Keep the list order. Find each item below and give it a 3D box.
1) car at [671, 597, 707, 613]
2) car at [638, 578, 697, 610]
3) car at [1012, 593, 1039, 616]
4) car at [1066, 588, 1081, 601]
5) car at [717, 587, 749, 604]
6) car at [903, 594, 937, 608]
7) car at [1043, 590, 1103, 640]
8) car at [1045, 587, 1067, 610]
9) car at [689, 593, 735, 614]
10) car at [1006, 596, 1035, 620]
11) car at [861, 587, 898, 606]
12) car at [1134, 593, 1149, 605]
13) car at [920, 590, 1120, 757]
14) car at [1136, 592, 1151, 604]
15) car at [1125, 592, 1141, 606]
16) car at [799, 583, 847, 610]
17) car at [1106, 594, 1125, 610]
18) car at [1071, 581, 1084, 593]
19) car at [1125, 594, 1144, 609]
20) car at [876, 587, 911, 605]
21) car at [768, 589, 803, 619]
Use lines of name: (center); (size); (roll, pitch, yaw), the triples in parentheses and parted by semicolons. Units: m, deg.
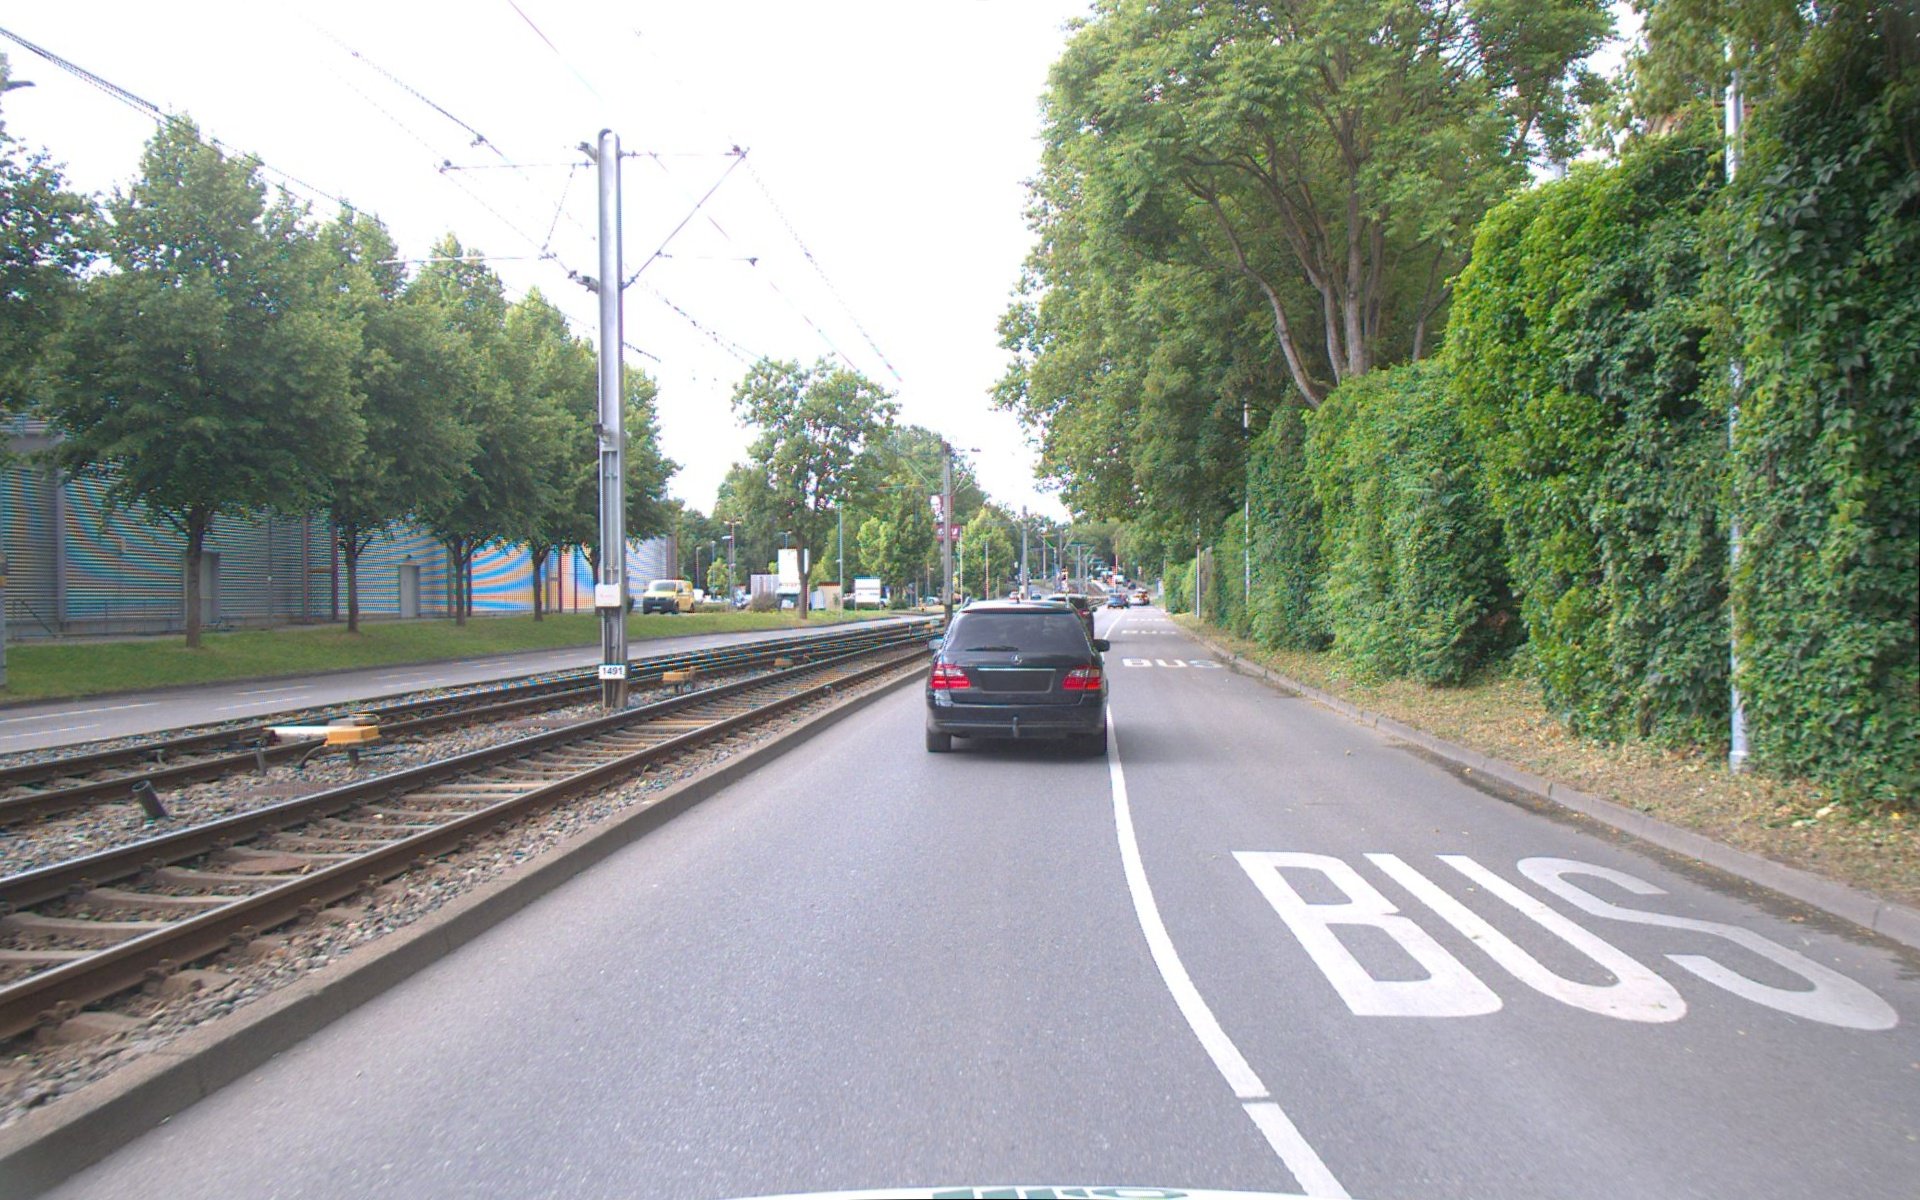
car: (-32.090, 0.546, 195.910); (3.905, 1.709, 2.000); (-3, -1, 0)
car: (-16.222, -0.333, 91.961); (1.951, 1.773, 4.991); (0, 0, 6)
car: (4.555, 0.323, 115.182); (1.787, 1.556, 3.988); (0, 0, 4)
car: (13.211, -0.652, 192.334); (1.787, 1.556, 4.181); (0, 0, 4)
car: (-31.085, -0.623, 226.451); (3.902, 2.049, 2.001); (-3, -1, 6)
car: (-4.753, 0.129, 196.719); (3.903, 1.673, 2.001); (0, 0, 5)
car: (3.611, 0.459, 53.580); (1.787, 1.556, 4.417); (0, 0, 2)
car: (8.983, -0.108, 154.825); (1.852, 2.049, 3.899); (-2, 0, 2)
car: (-21.959, 0.323, 146.422); (3.918, 1.709, 1.993); (-2, -1, -13)
car: (4.053, 0.508, 110.036); (1.787, 1.556, 3.988); (0, 0, 4)
car: (-7.882, -0.362, 162.001); (3.621, 1.847, 1.793); (0, 0, -5)
car: (22.828, -0.149, 208.069); (1.787, 1.556, 4.181); (0, 0, 4)
car: (0.652, 0.668, 17.086); (1.795, 1.504, 4.417); (0, 0, 3)
car: (24.427, -0.302, 220.617); (1.787, 1.556, 4.181); (0, 0, 4)
car: (20.827, -0.122, 199.434); (1.787, 1.556, 4.181); (0, 0, 4)
car: (-11.726, -0.303, 141.625); (3.907, 2.160, 1.999); (-2, -1, -3)
car: (15.123, 0.190, 161.040); (1.787, 1.556, 4.418); (0, 0, 4)
car: (16.847, -1.817, 237.930); (1.803, 1.673, 3.887); (0, 0, 3)
car: (17.949, 0.173, 170.145); (1.787, 1.556, 4.181); (0, 0, 4)
car: (-6.978, -0.400, 173.585); (3.621, 1.847, 1.793); (0, 0, -5)
car: (-12.738, 0.287, 121.008); (1.952, 2.049, 4.001); (-2, 0, 2)
